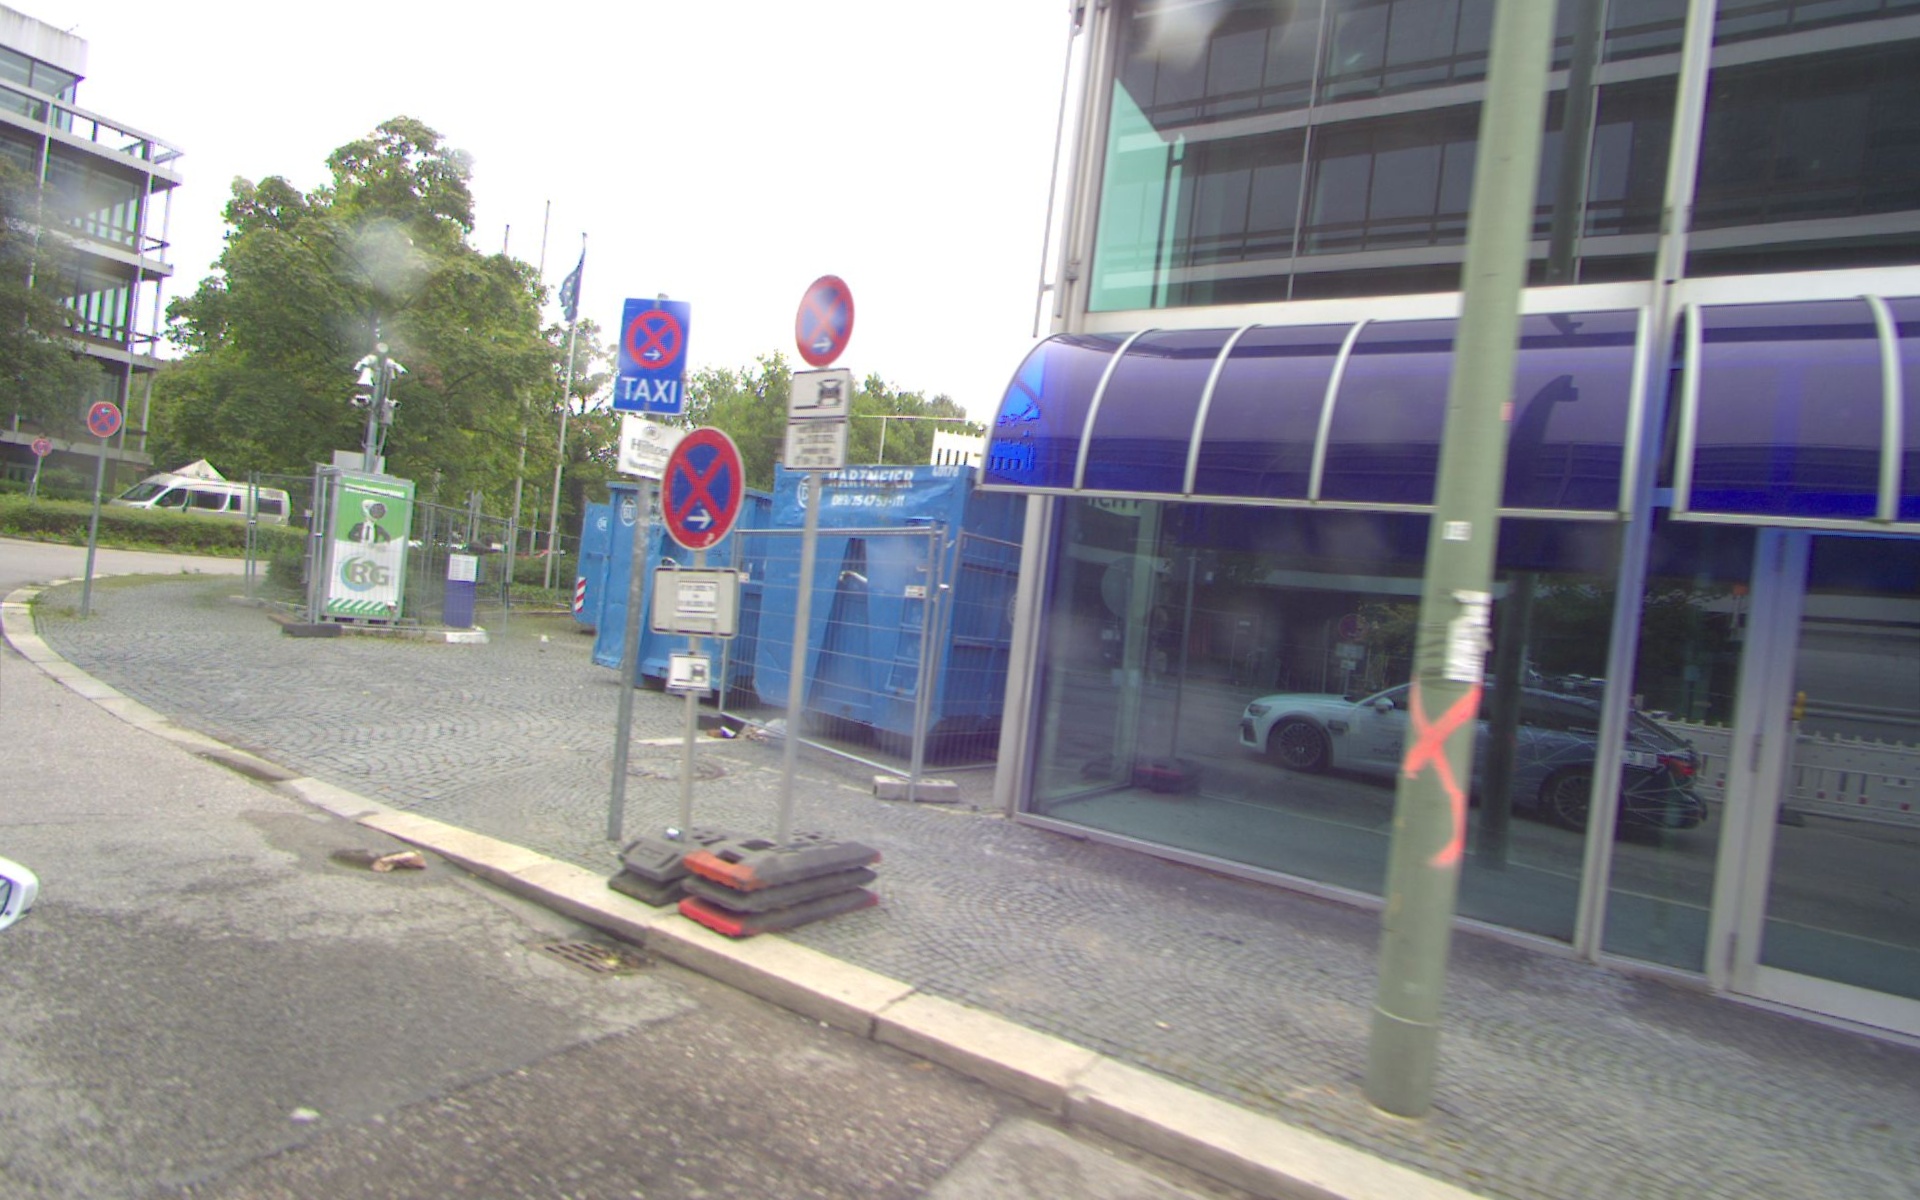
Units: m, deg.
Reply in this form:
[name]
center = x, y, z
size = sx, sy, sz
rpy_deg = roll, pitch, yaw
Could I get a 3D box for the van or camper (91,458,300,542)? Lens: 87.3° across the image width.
[van or camper]
center = -30.535, -3.928, 40.542
size = 2.213, 2.309, 6.420
rpy_deg = 7, 0, 18

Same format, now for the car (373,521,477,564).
[car]
center = -26.265, -2.796, 49.483
size = 1.968, 1.527, 3.989
rpy_deg = 7, 0, 33
